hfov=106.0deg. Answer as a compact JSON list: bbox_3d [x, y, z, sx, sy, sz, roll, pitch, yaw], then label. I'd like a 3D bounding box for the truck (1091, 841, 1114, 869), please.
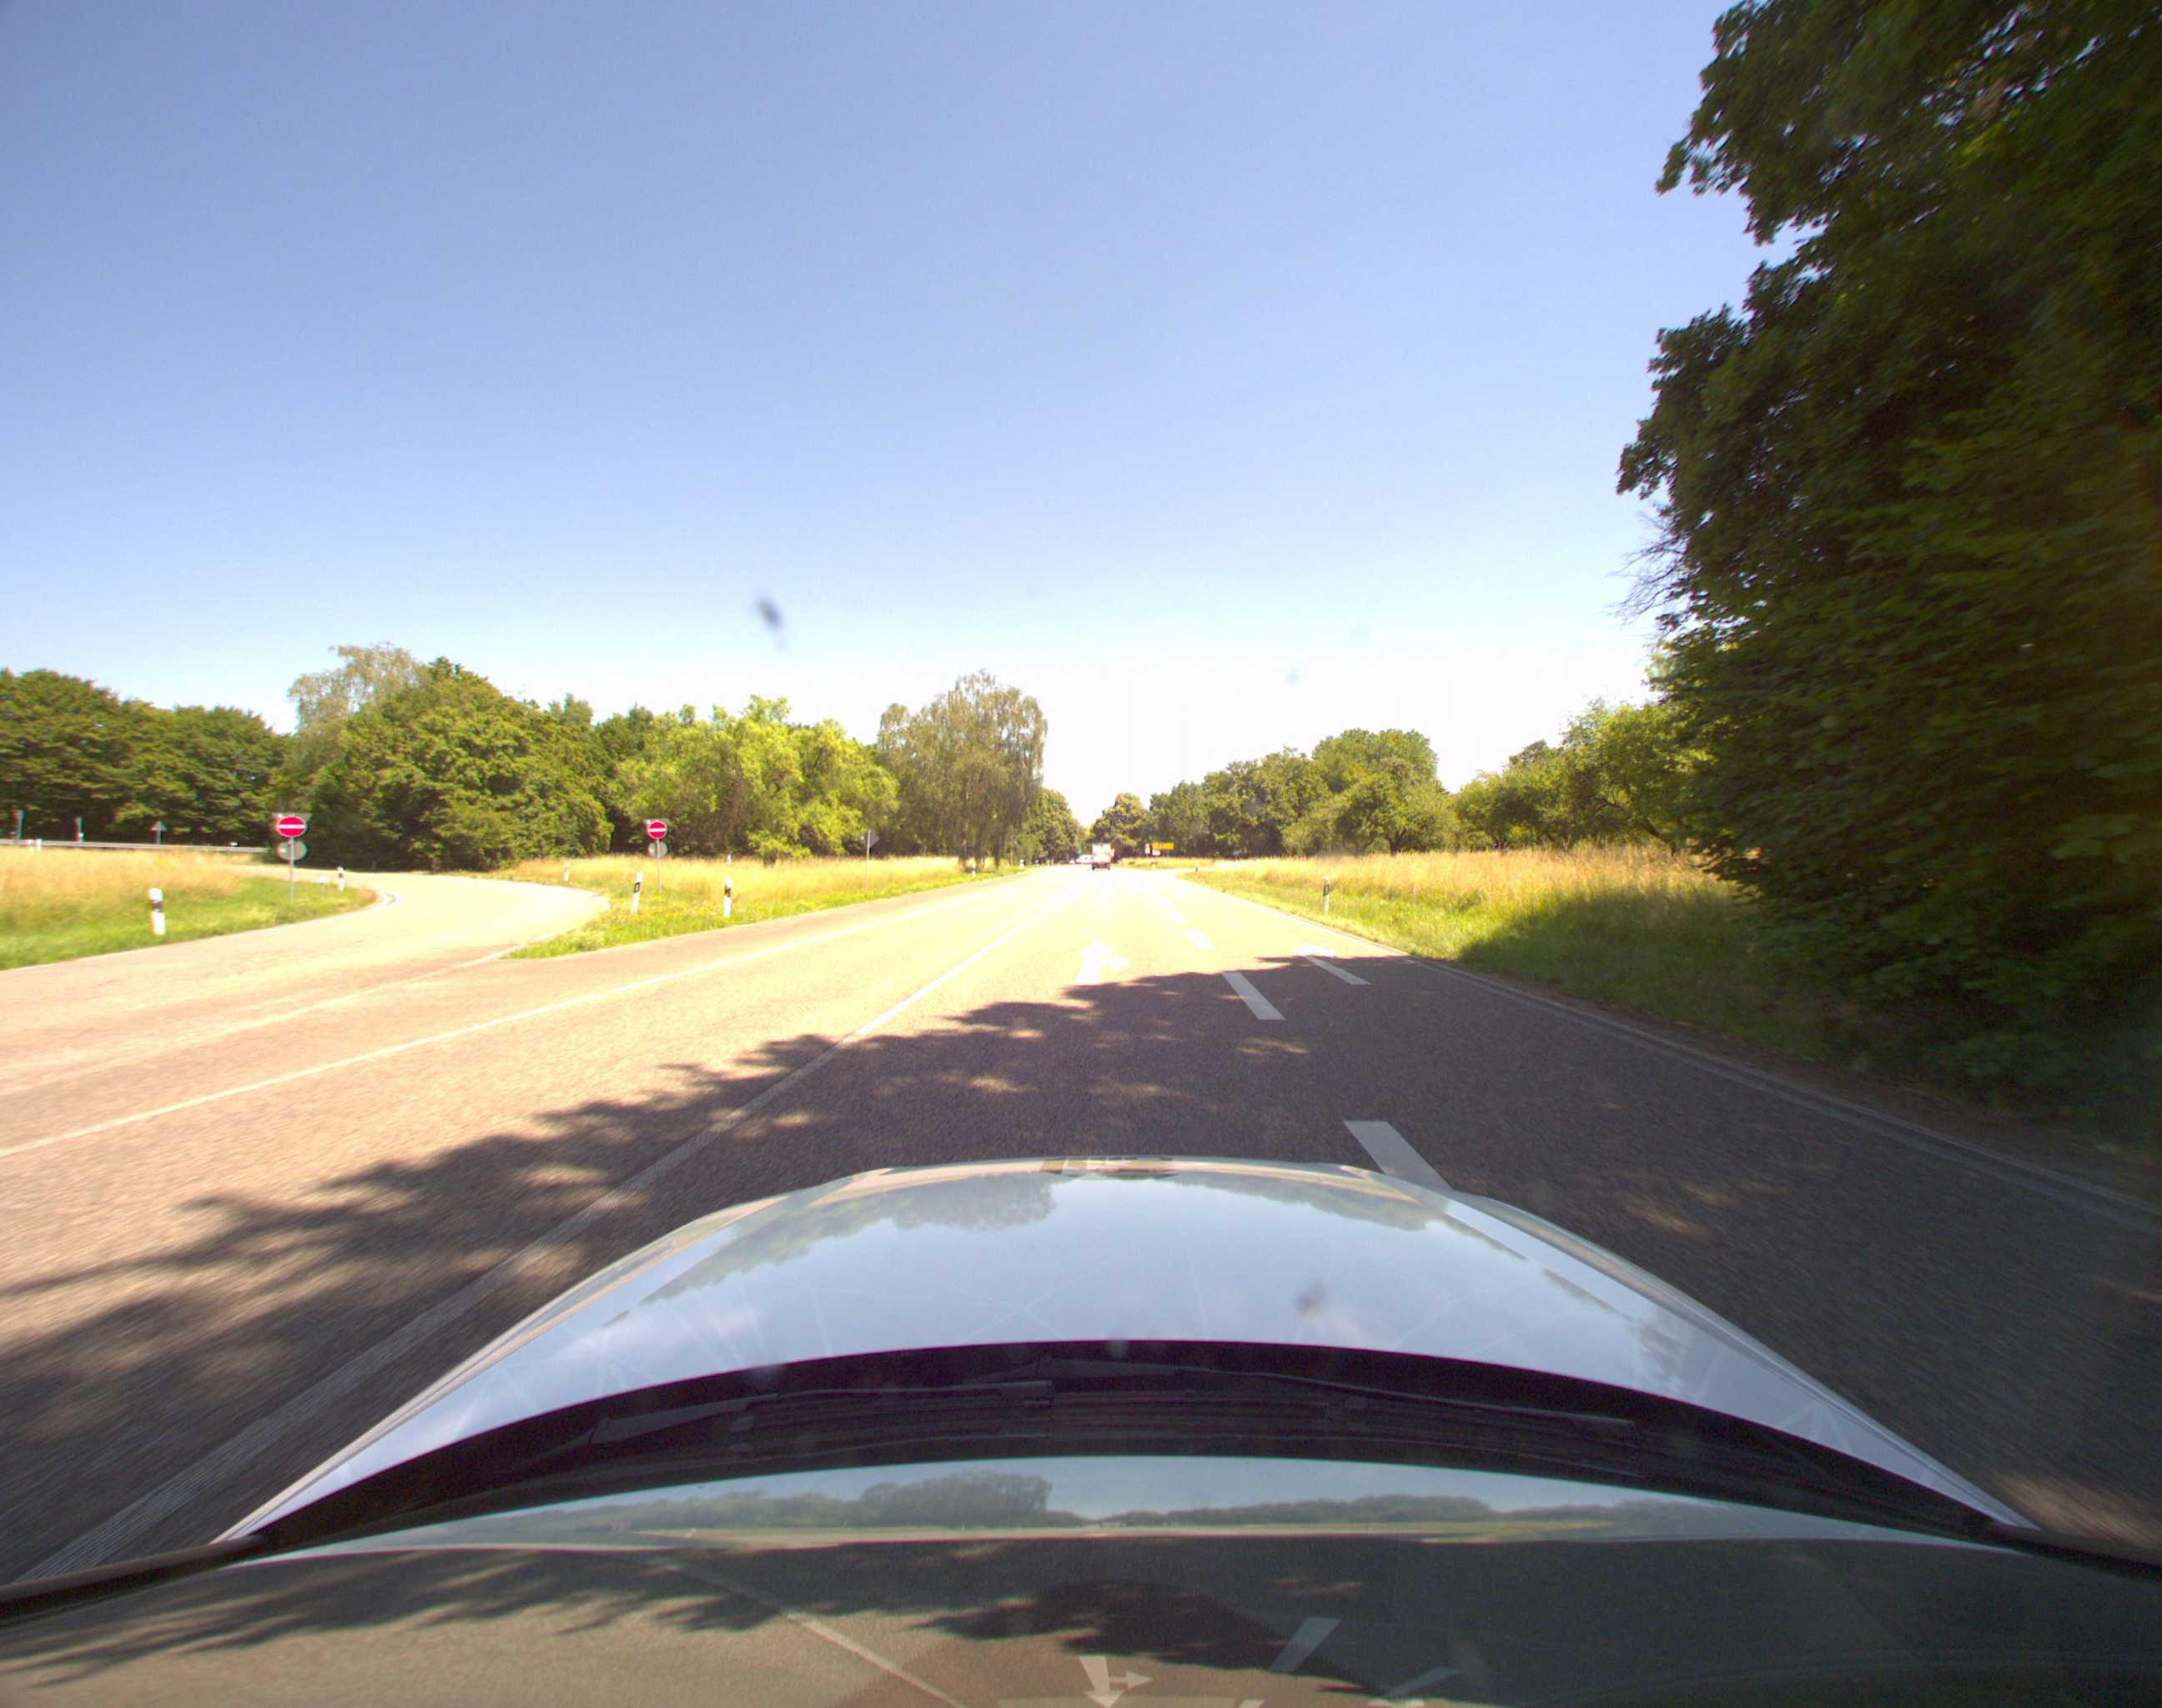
[{"bbox_3d":[2.454,0.097,91.858,2.523,3.135,5.365,0,0,3],"label":"truck"}]

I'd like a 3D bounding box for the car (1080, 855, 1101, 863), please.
[{"bbox_3d":[2.874,1.547,249.121,6.820,2.628,2.055,1,-1,-42],"label":"car"}]
